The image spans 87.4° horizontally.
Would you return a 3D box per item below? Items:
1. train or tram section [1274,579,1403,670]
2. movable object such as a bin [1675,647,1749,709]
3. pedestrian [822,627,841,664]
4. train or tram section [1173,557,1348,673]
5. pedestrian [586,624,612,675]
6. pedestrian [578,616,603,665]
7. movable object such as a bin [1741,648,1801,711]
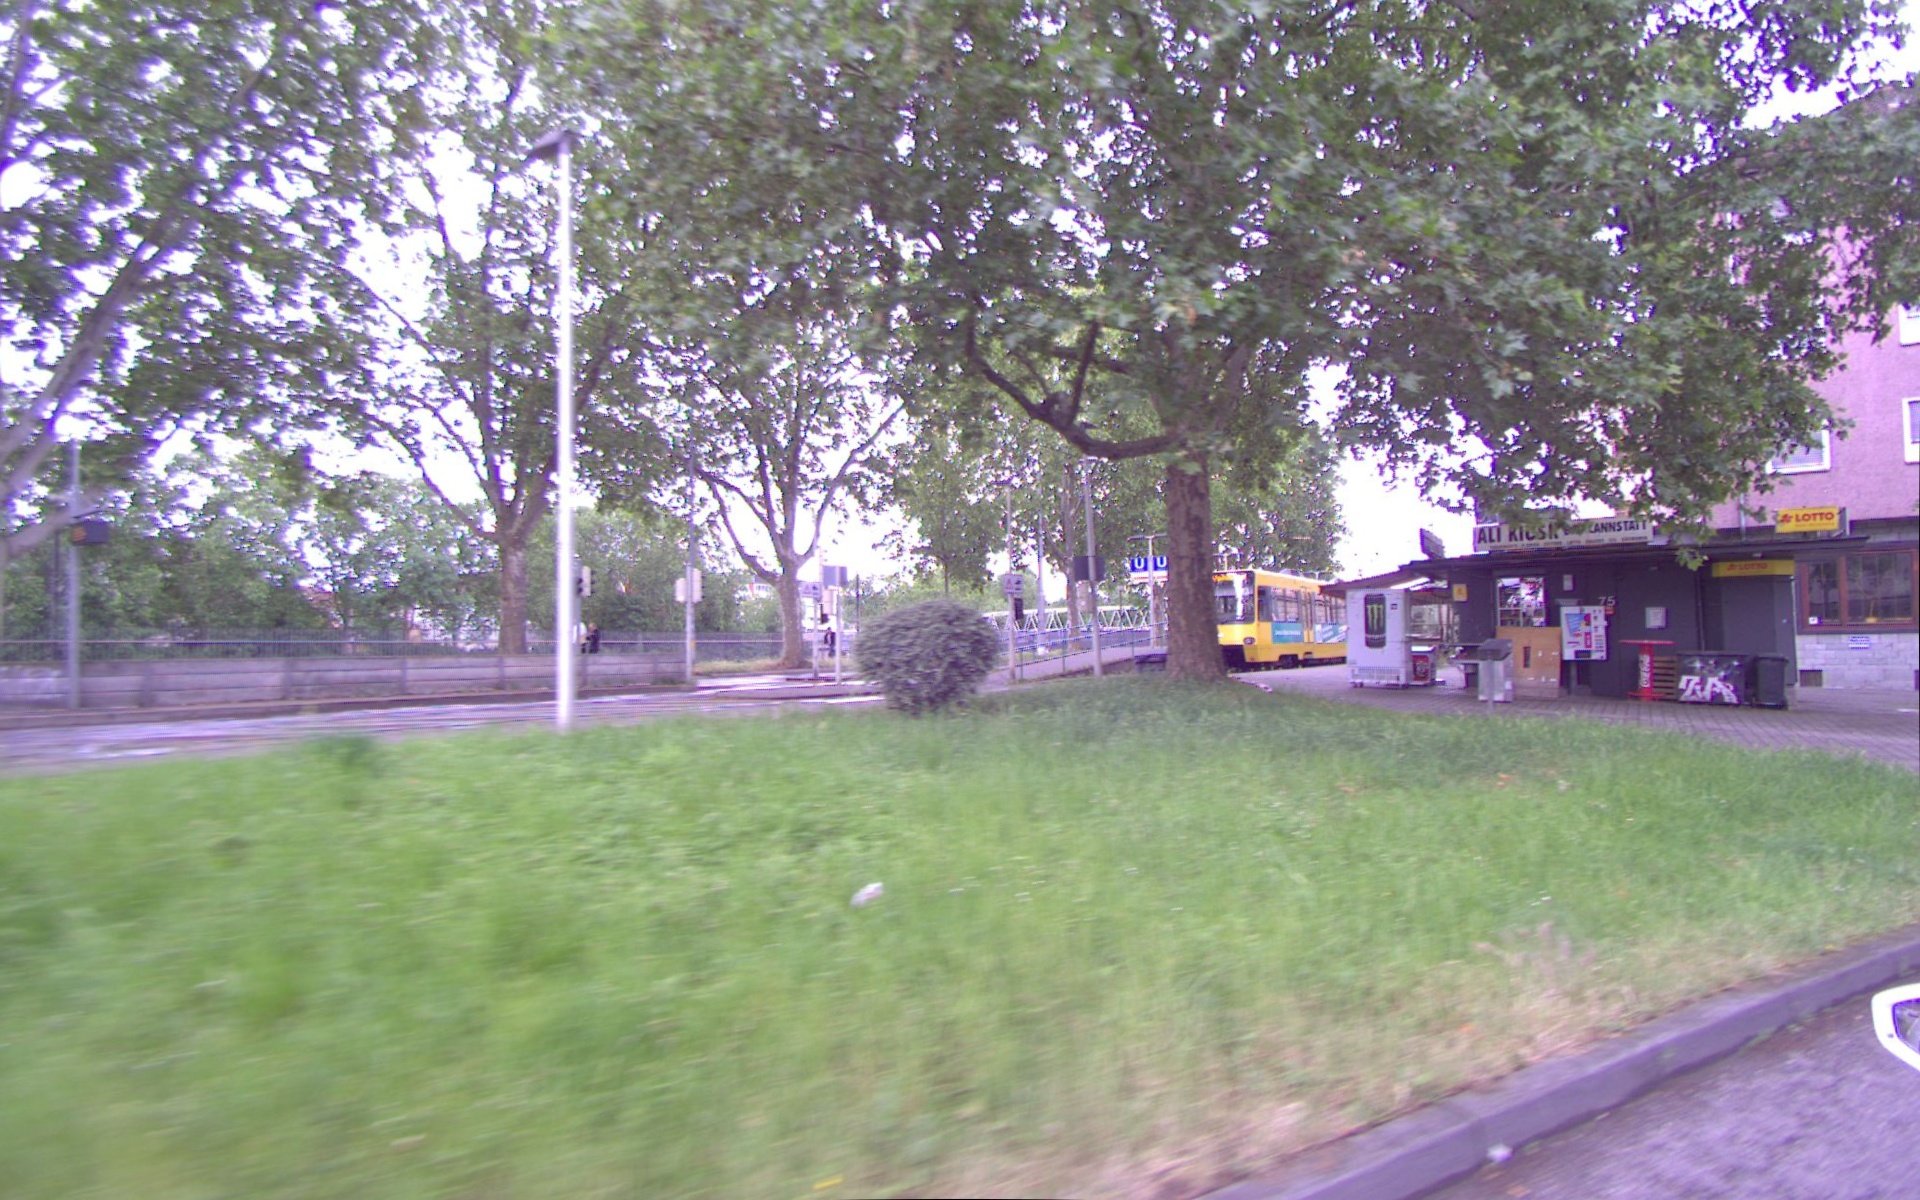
[{"bbox_3d":[17.771,1.257,46.543,2.876,3.720,10.974,2,-2,35],"label":"train or tram section"},{"bbox_3d":[13.508,1.375,18.079,0.951,0.977,1.110,2,1,33],"label":"movable object such as a bin"},{"bbox_3d":[-5.764,2.033,45.122,0.653,1.644,0.535,3,-1,12],"label":"pedestrian"},{"bbox_3d":[11.555,0.710,37.517,2.876,3.720,10.974,2,-2,35],"label":"train or tram section"},{"bbox_3d":[-12.067,1.649,33.593,0.493,1.644,0.533,2,-1,34],"label":"pedestrian"},{"bbox_3d":[-12.586,1.368,34.181,0.493,1.644,0.533,2,-1,34],"label":"pedestrian"},{"bbox_3d":[14.214,1.376,17.631,0.661,0.977,1.076,2,1,33],"label":"movable object such as a bin"}]
